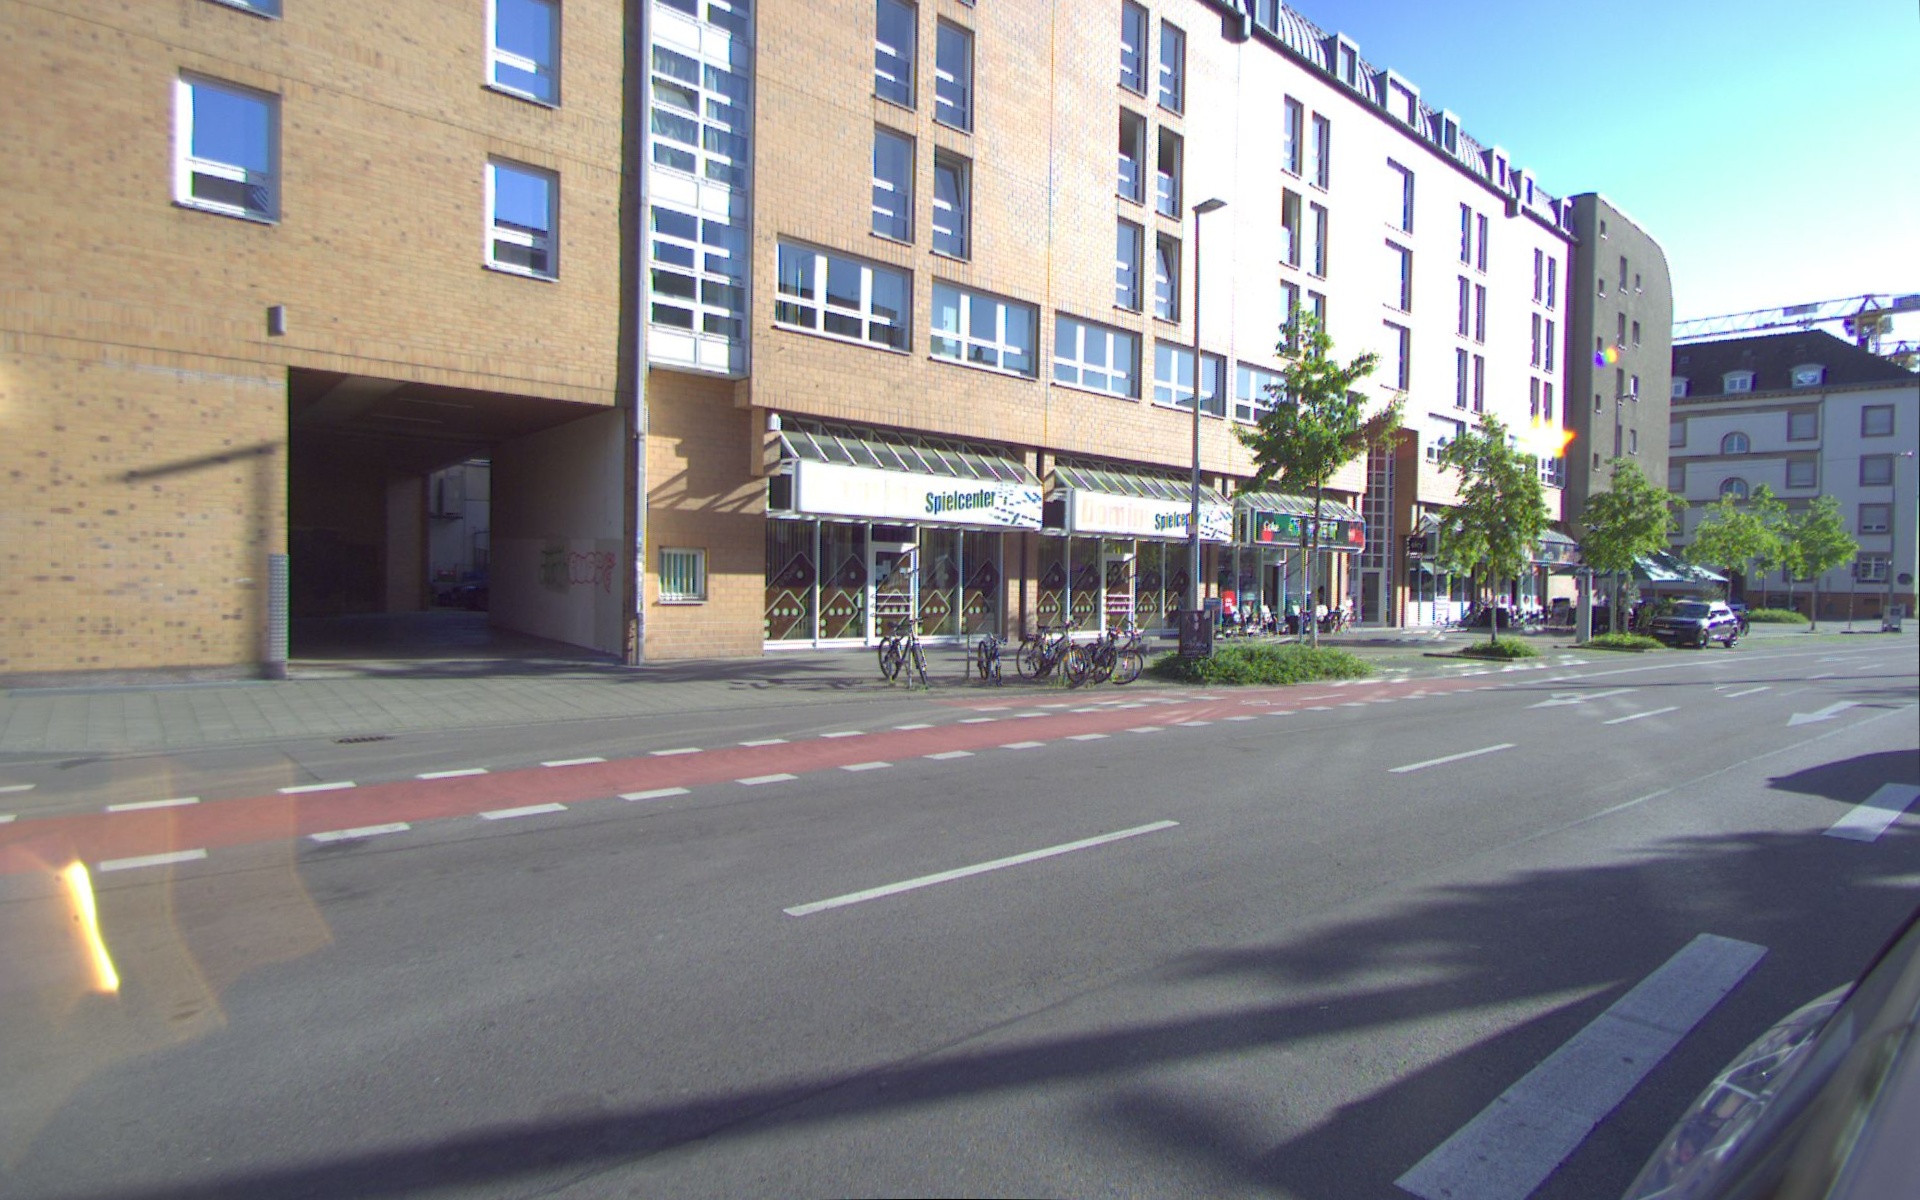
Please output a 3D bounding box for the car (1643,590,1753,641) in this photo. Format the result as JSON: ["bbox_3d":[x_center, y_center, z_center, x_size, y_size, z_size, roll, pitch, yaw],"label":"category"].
[{"bbox_3d":[25.783,0.511,35.351,3.921,1.660,1.782,0,1,-33],"label":"car"}]

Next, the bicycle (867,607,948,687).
[{"bbox_3d":[-0.872,0.724,16.244,0.423,1.089,1.776,-1,4,-35],"label":"bicycle"}]

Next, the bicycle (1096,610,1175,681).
[{"bbox_3d":[3.067,0.776,17.887,0.343,1.069,1.843,0,3,-26],"label":"bicycle"}]

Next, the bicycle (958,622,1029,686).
[{"bbox_3d":[0.531,0.864,16.672,0.359,0.842,1.779,0,3,-26],"label":"bicycle"}]

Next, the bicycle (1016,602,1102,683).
[{"bbox_3d":[1.653,0.685,17.219,0.553,1.177,1.843,0,3,-26],"label":"bicycle"}]

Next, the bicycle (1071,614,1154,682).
[{"bbox_3d":[2.637,0.810,17.679,0.440,0.997,1.843,0,3,-26],"label":"bicycle"}]
